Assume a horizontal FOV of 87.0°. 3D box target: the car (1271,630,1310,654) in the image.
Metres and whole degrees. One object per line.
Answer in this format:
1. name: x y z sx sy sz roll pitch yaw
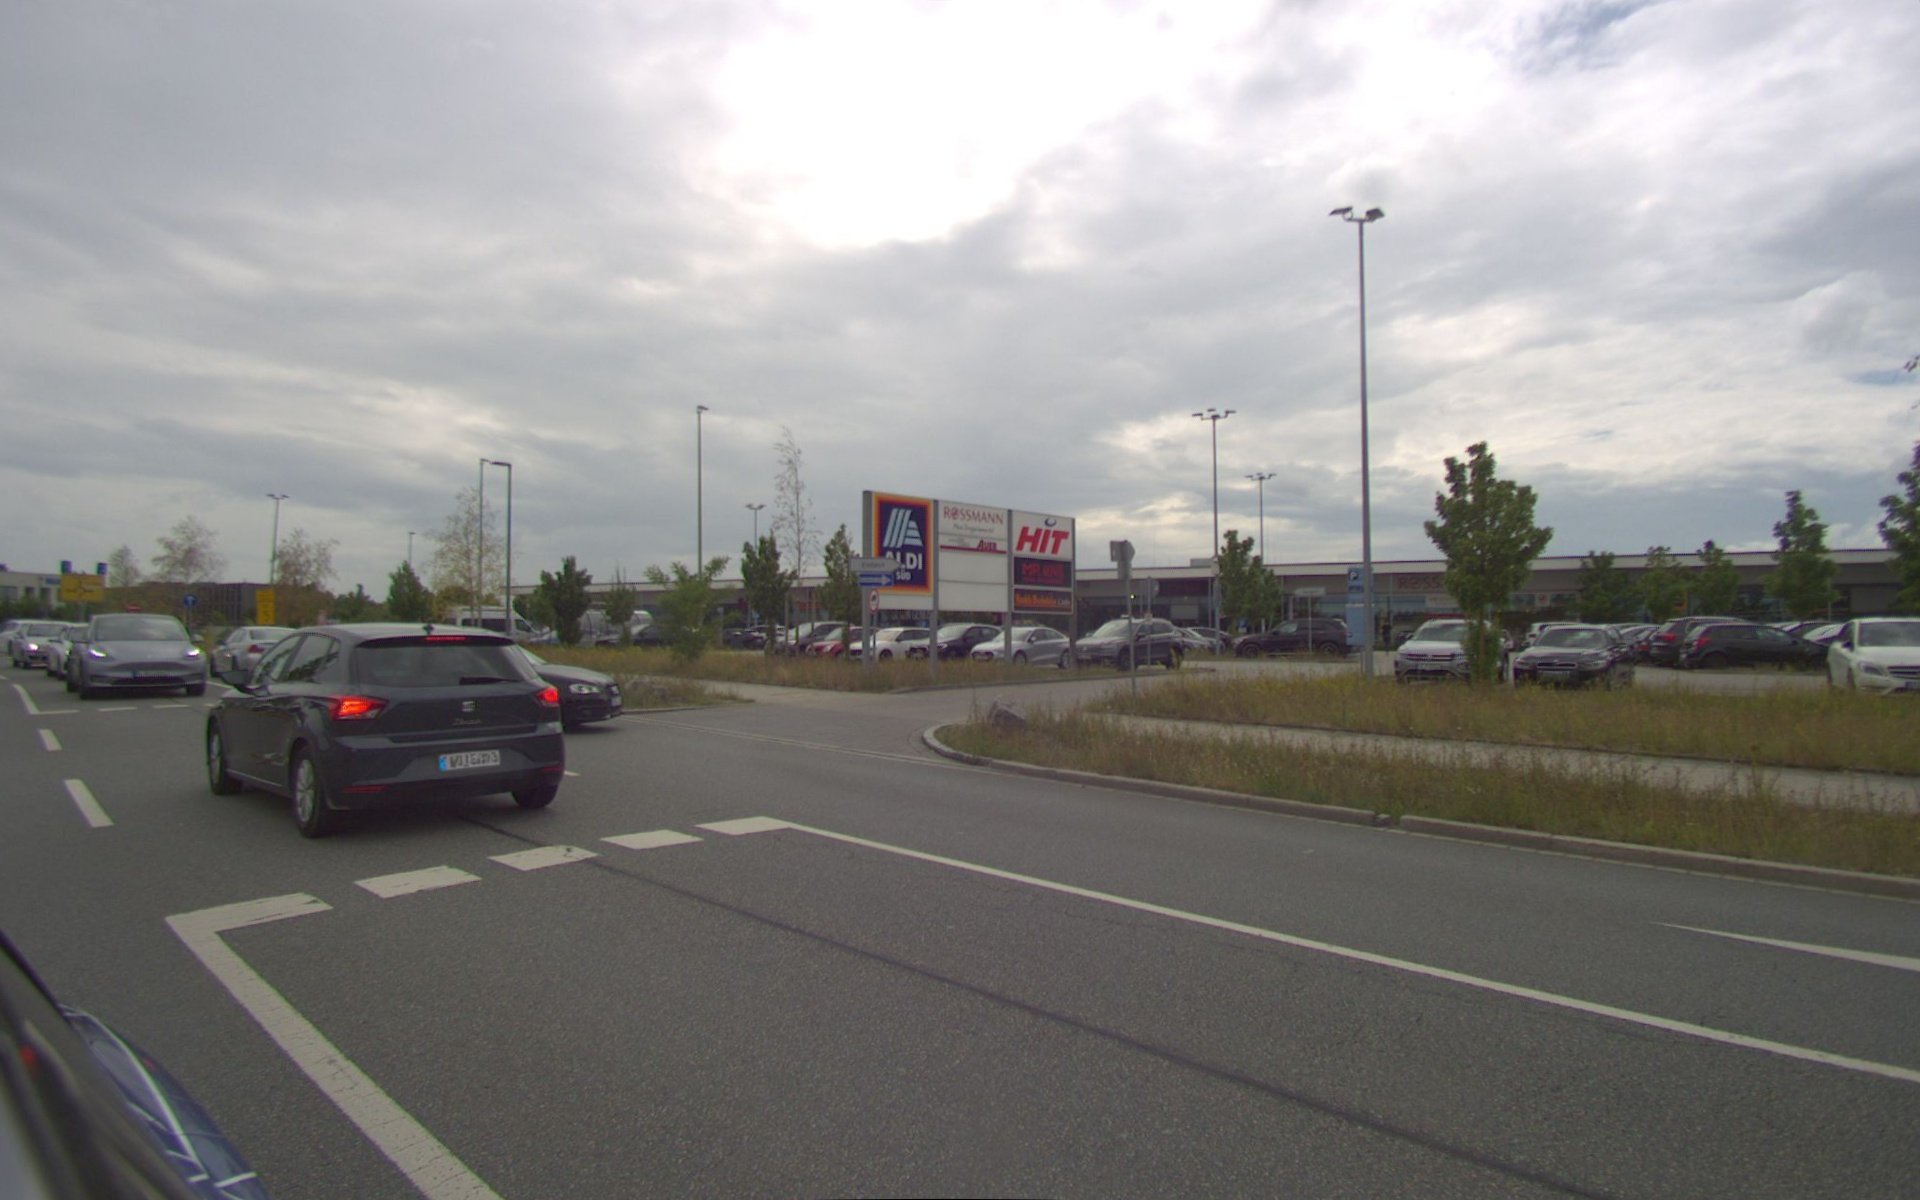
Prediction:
1. car: 23.374 2.981 71.424 2.075 1.619 3.964 -1 -3 26

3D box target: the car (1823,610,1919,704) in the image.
1. car: 17.452 1.016 18.548 1.984 1.571 4.211 -2 -3 34

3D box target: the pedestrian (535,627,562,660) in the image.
1. pedestrian: -24.520 2.594 60.243 1.110 1.904 1.000 -1 -3 31

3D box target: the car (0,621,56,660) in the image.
1. car: -43.323 1.858 46.655 4.703 1.649 1.971 -2 -4 44

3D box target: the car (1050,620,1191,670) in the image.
1. car: 4.963 1.358 30.929 4.307 1.402 2.166 2 -3 -45

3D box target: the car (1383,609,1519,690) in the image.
1. car: 11.771 1.134 24.123 2.026 1.736 4.200 -1 -2 39

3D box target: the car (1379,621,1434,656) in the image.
1. car: 21.669 1.860 49.042 1.992 1.619 3.959 -1 -3 30

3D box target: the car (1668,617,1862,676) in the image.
1. car: 23.409 1.344 29.640 3.972 1.619 1.986 -1 -2 22

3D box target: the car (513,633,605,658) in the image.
1. car: -21.893 2.492 55.346 2.008 1.314 4.283 -2 -3 38

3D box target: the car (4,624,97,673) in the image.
1. car: -28.879 1.524 32.098 4.030 1.449 1.684 -2 -3 41

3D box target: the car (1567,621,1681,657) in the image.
1. car: 30.436 1.801 46.545 3.972 1.619 1.986 -1 -2 22

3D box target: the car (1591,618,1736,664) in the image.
1. car: 25.799 1.498 37.267 3.971 1.619 1.986 -1 -2 21

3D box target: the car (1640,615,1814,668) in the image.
1. car: 24.164 1.312 32.064 3.972 1.619 1.840 -1 -2 22

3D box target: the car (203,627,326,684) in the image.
1. car: -19.002 1.475 27.570 4.500 1.428 1.816 -2 -4 43

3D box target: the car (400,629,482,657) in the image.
1. car: -31.542 2.616 61.561 2.081 1.646 3.908 -2 -3 36

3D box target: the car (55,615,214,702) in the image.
1. car: -16.772 1.136 20.482 4.614 1.573 1.971 -2 -3 44

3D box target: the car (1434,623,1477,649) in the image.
1. car: 32.329 2.355 66.161 1.984 1.619 3.975 -1 -2 18

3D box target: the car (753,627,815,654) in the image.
1. car: -12.326 2.829 70.744 3.978 1.785 1.764 0 -1 26

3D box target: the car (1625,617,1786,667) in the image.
1. car: 25.342 1.428 34.569 3.972 1.619 1.986 -1 -2 22

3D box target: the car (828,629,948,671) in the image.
1. car: -2.638 1.853 37.829 2.010 1.468 4.272 -2 -3 42

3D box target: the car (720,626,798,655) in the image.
1. car: -13.649 2.753 68.630 4.901 1.914 2.139 -1 -3 27

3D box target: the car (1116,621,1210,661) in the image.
1. car: 9.948 1.997 49.516 4.408 1.936 1.829 -1 -2 16

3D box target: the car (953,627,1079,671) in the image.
1. car: 1.914 1.585 33.506 2.025 1.350 4.268 -2 -3 40

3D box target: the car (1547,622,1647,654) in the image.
1. car: 32.503 1.941 51.751 3.972 1.619 1.986 -1 -2 22

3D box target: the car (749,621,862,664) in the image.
1. car: -6.249 1.733 41.345 2.080 1.667 4.255 -2 -3 41

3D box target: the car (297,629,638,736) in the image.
1. car: -7.053 1.176 14.915 4.163 1.449 1.778 1 -2 -9

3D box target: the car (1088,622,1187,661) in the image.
1. car: 7.830 1.829 44.694 3.974 1.619 1.984 -1 -3 23

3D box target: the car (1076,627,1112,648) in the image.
1. car: 9.971 2.785 75.190 1.988 1.493 4.028 -1 -2 17

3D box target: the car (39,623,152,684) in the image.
1. car: -22.892 1.354 26.750 4.194 1.480 1.859 -1 -2 44

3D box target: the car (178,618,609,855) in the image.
1. car: -4.765 0.883 8.236 4.245 1.431 1.810 -1 -2 42

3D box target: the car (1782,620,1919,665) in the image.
1. car: 33.993 1.597 38.330 3.972 1.619 1.986 -1 -2 22

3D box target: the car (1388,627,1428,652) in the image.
1. car: 29.737 2.634 67.306 1.984 1.619 3.975 -1 -2 18

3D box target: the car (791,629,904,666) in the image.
1. car: -4.368 1.842 39.613 2.001 1.402 4.038 -2 -3 45

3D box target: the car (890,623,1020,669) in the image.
1. car: -0.124 1.588 35.647 2.240 1.517 4.316 -2 -3 44

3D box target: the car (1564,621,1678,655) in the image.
1. car: 32.083 1.859 49.238 4.264 1.619 1.986 -1 -2 22

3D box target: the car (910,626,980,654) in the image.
1. car: -1.034 2.735 69.162 4.277 1.888 2.227 -1 -2 22

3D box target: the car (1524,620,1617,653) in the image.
1. car: 32.879 1.982 54.620 3.972 1.746 1.986 -1 -2 22

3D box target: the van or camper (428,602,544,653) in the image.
1. van or camper: -27.550 1.626 59.067 2.238 2.821 5.803 -1 -2 34

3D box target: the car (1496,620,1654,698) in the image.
1. car: 13.360 1.202 21.896 2.046 1.525 4.195 -2 -2 44

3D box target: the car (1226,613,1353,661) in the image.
1. car: 12.889 1.426 39.578 4.555 1.760 1.984 0 -2 23

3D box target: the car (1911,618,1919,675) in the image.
1. car: 29.473 1.255 27.215 5.236 1.619 1.986 -1 -2 22

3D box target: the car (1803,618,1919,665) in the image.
1. car: 32.777 1.460 35.617 4.362 1.619 1.983 -1 -3 26
